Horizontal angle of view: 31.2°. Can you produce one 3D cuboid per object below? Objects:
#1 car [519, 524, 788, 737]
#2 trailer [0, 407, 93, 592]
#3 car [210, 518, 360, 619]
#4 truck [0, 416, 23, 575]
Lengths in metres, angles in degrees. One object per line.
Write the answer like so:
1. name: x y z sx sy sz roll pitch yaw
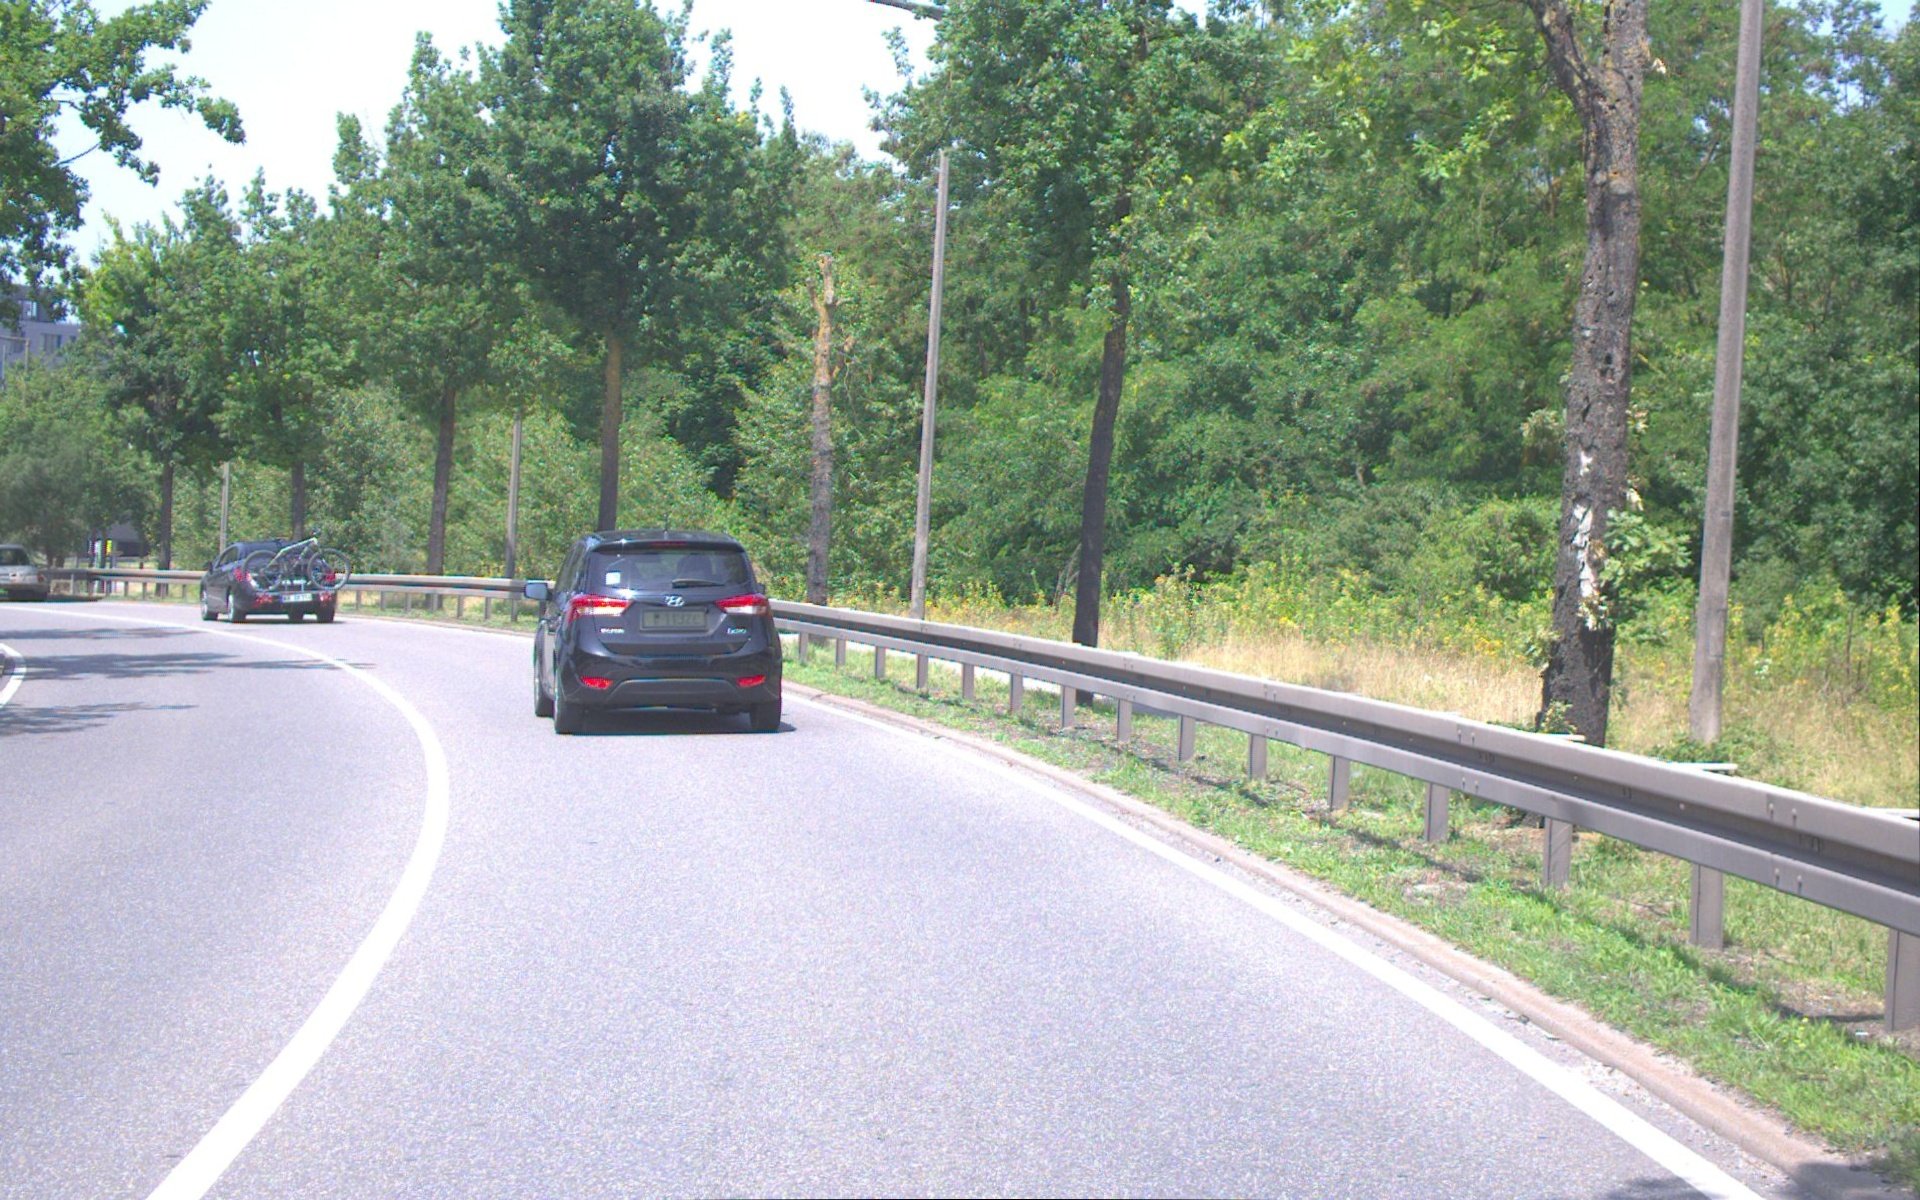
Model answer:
1. car: -2.579 0.184 28.131 1.766 1.593 4.079 0 1 -11
2. trailer: -25.371 -2.714 89.417 3.077 4.353 14.779 2 2 -23
3. car: -11.643 -0.542 59.115 1.956 1.628 4.281 1 0 -19
4. truck: -28.433 -3.019 96.659 3.075 4.353 6.081 2 2 -23
